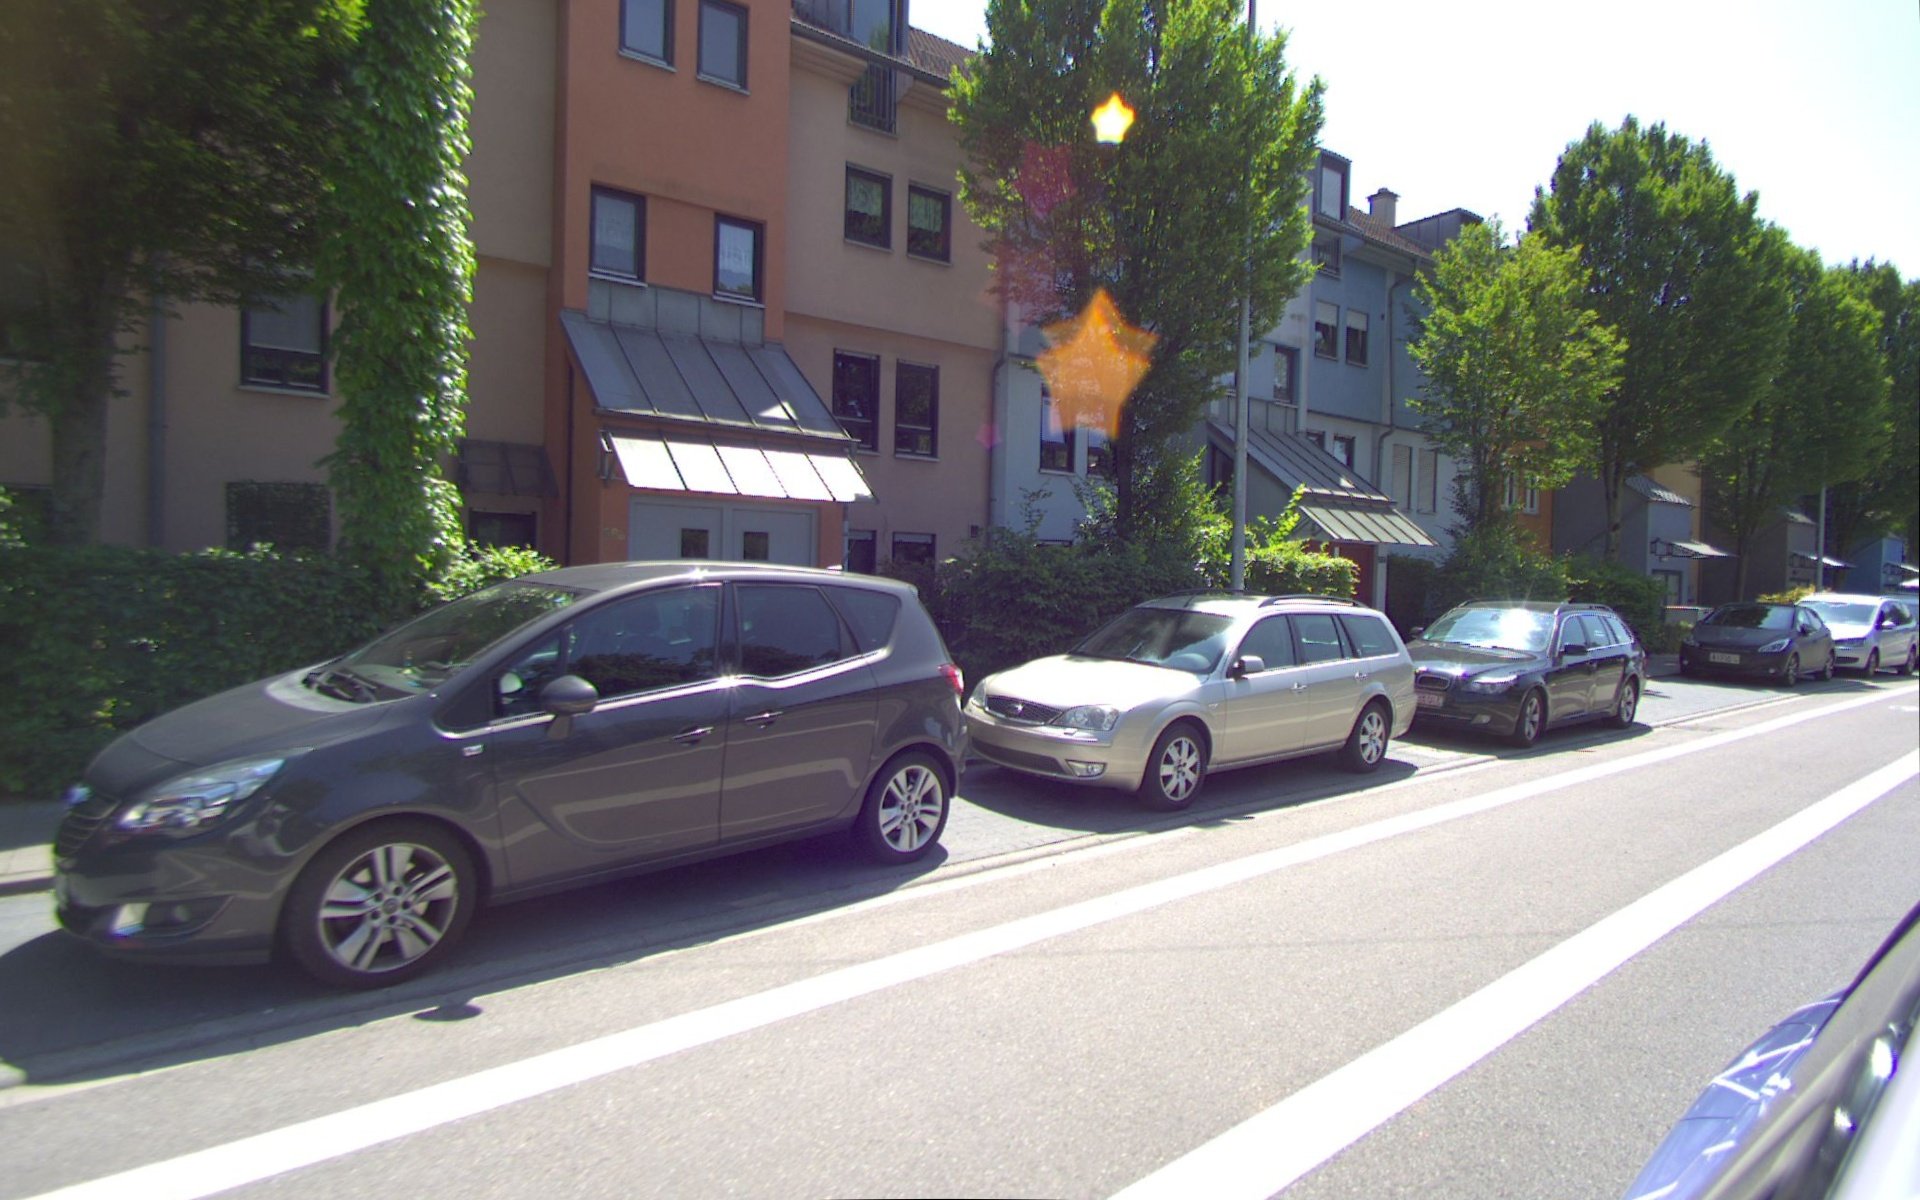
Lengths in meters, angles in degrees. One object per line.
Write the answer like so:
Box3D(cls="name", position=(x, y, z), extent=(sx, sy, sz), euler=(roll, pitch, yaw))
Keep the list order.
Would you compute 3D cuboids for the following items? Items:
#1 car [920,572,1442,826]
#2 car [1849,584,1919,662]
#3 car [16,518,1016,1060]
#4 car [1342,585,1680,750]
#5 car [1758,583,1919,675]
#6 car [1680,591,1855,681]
Box3D(cls="car", position=(2.055, 0.619, 8.479), extent=(4.646, 1.510, 1.711), euler=(1, 4, -40))
Box3D(cls="car", position=(24.664, 0.585, 25.936), extent=(4.272, 1.815, 1.847), euler=(1, 3, -36))
Box3D(cls="car", position=(-1.819, 0.513, 5.083), extent=(4.252, 1.581, 1.709), euler=(0, 4, -44))
Box3D(cls="car", position=(6.728, 0.672, 12.096), extent=(4.947, 1.510, 1.712), euler=(1, 4, -39))
Box3D(cls="car", position=(19.524, 0.587, 22.151), extent=(4.686, 1.714, 1.848), euler=(1, 3, -35))
Box3D(cls="car", position=(15.410, 0.626, 19.250), extent=(4.102, 1.440, 1.589), euler=(1, 4, -38))
